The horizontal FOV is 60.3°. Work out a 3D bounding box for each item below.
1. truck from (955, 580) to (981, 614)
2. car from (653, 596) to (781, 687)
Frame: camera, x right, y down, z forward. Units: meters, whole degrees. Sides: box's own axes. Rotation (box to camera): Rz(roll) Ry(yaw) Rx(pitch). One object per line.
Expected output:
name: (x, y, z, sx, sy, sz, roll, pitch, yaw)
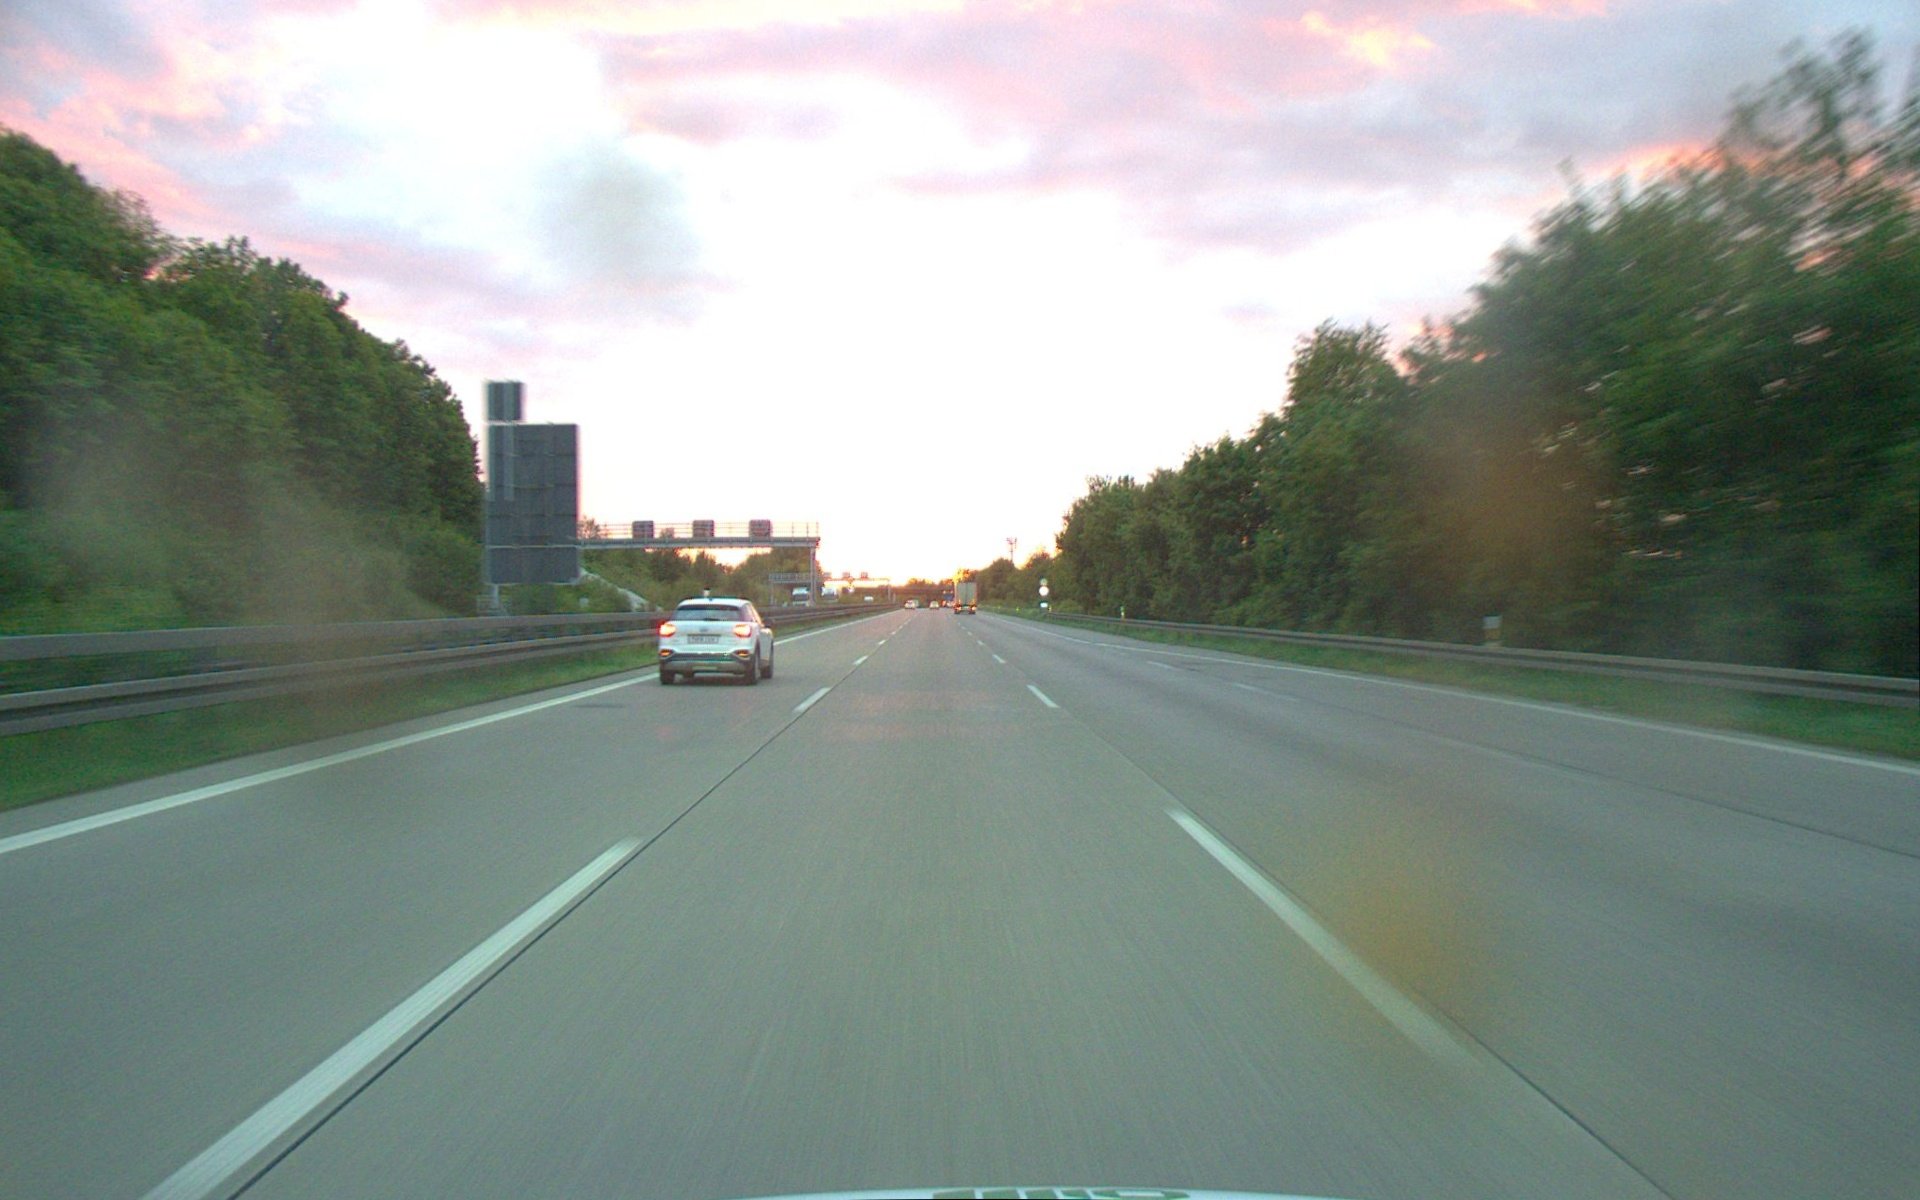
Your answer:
truck: (0.974, -0.359, 206.583, 3.178, 4.199, 9.785, -1, 0, 0)
car: (-4.466, 0.718, 31.065, 1.753, 1.527, 5.036, 1, 0, -1)
